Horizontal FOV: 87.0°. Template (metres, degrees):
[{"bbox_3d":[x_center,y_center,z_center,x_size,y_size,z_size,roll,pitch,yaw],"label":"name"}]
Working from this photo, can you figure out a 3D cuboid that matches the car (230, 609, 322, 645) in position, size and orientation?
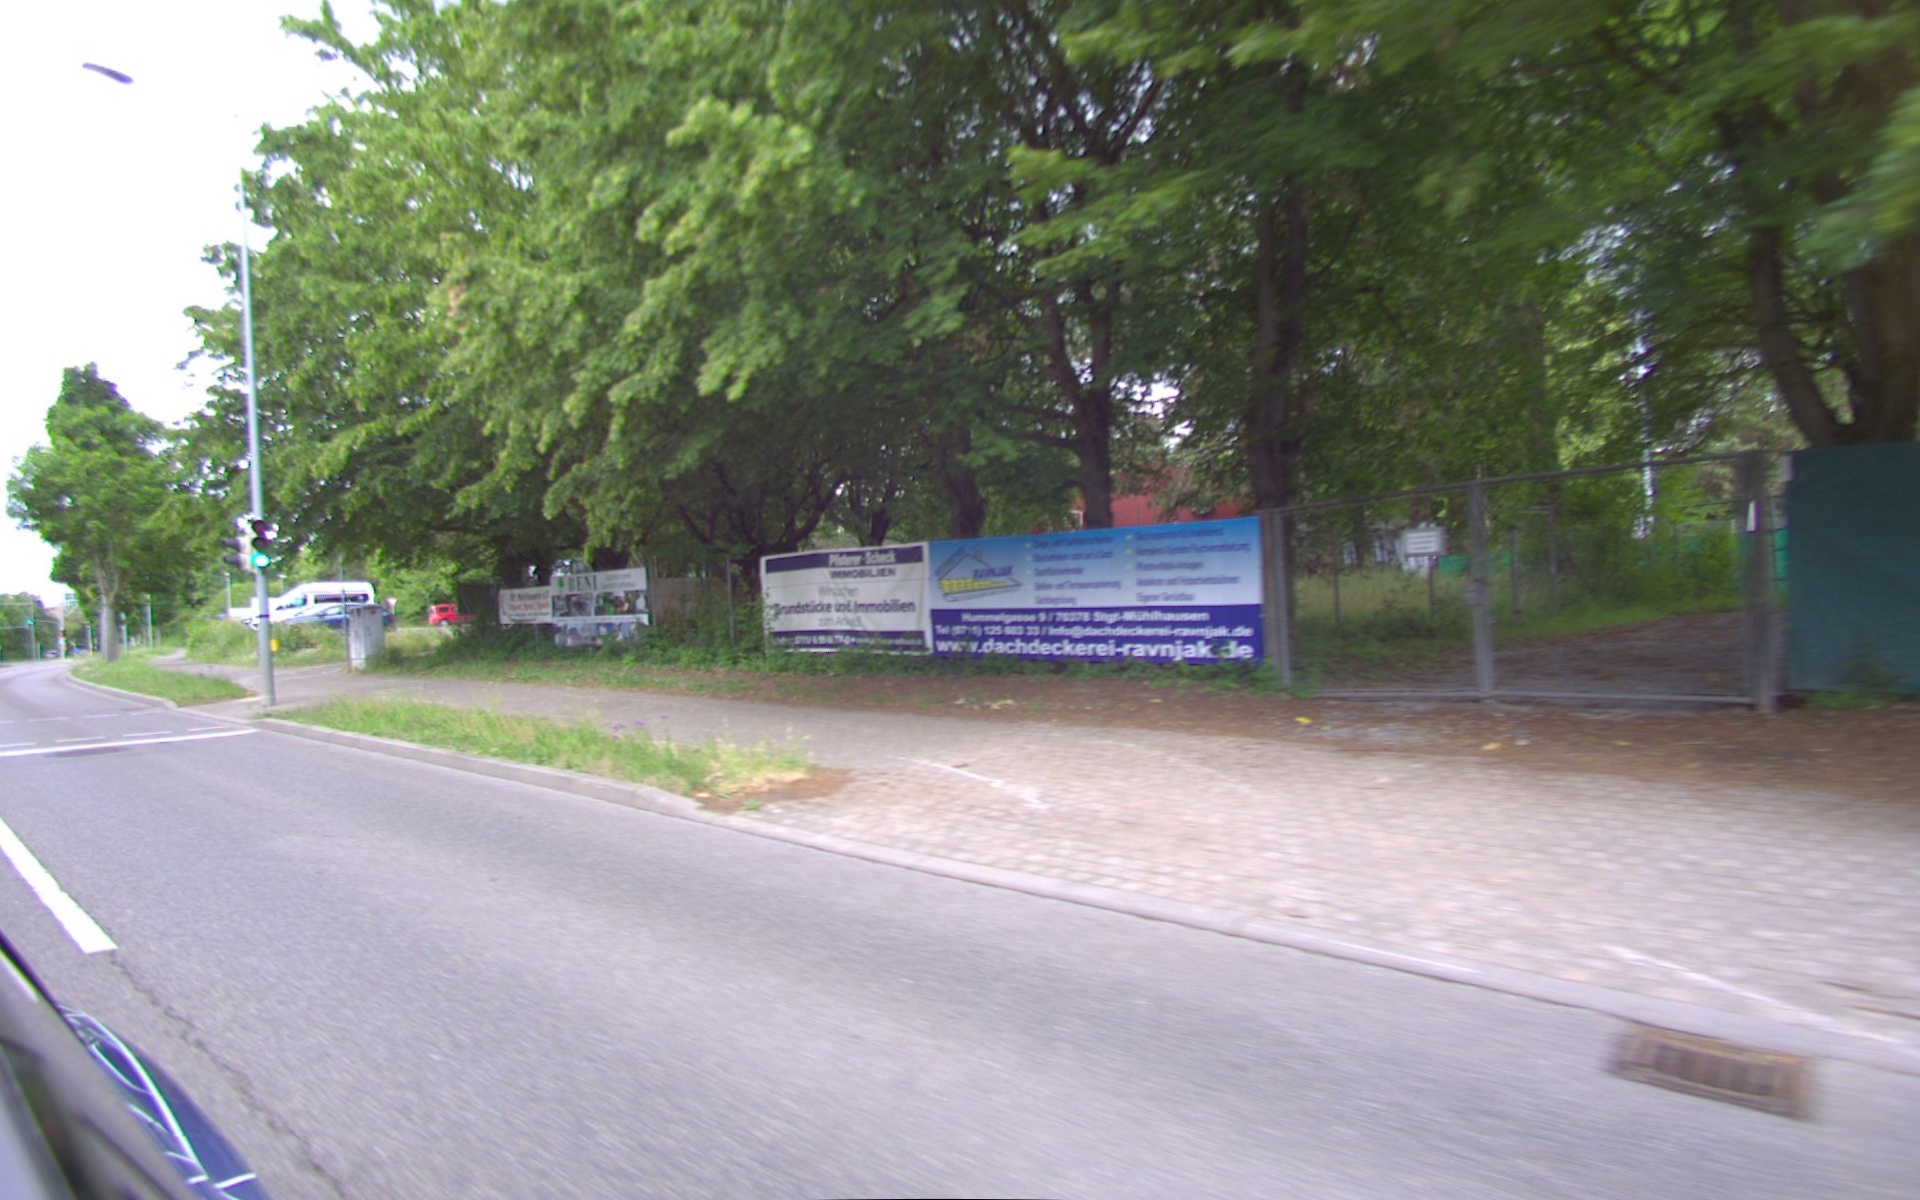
[{"bbox_3d":[-37.133,1.466,54.995,3.981,1.596,2.005,-4,0,-36],"label":"car"}]

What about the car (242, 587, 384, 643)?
[{"bbox_3d":[-29.239,0.662,45.800,5.092,2.122,2.218,-4,0,-40],"label":"car"}]

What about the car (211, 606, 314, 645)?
[{"bbox_3d":[-33.872,1.247,49.217,3.981,1.559,2.005,-4,0,-36],"label":"car"}]

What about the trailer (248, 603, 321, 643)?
[{"bbox_3d":[-38.247,1.298,57.315,3.321,2.073,1.682,-2,-1,-35],"label":"trailer"}]

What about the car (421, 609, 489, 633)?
[{"bbox_3d":[-35.969,1.505,72.126,4.047,1.428,1.906,-4,0,-36],"label":"car"}]

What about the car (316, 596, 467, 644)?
[{"bbox_3d":[-23.371,0.806,41.718,5.092,1.573,1.889,-4,0,-40],"label":"car"}]

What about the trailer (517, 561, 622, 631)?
[{"bbox_3d":[-19.373,-0.142,49.986,2.615,3.097,7.208,-4,1,-39],"label":"trailer"}]

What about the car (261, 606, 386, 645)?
[{"bbox_3d":[-27.200,1.082,43.307,4.323,1.326,1.565,-4,0,-40],"label":"car"}]
